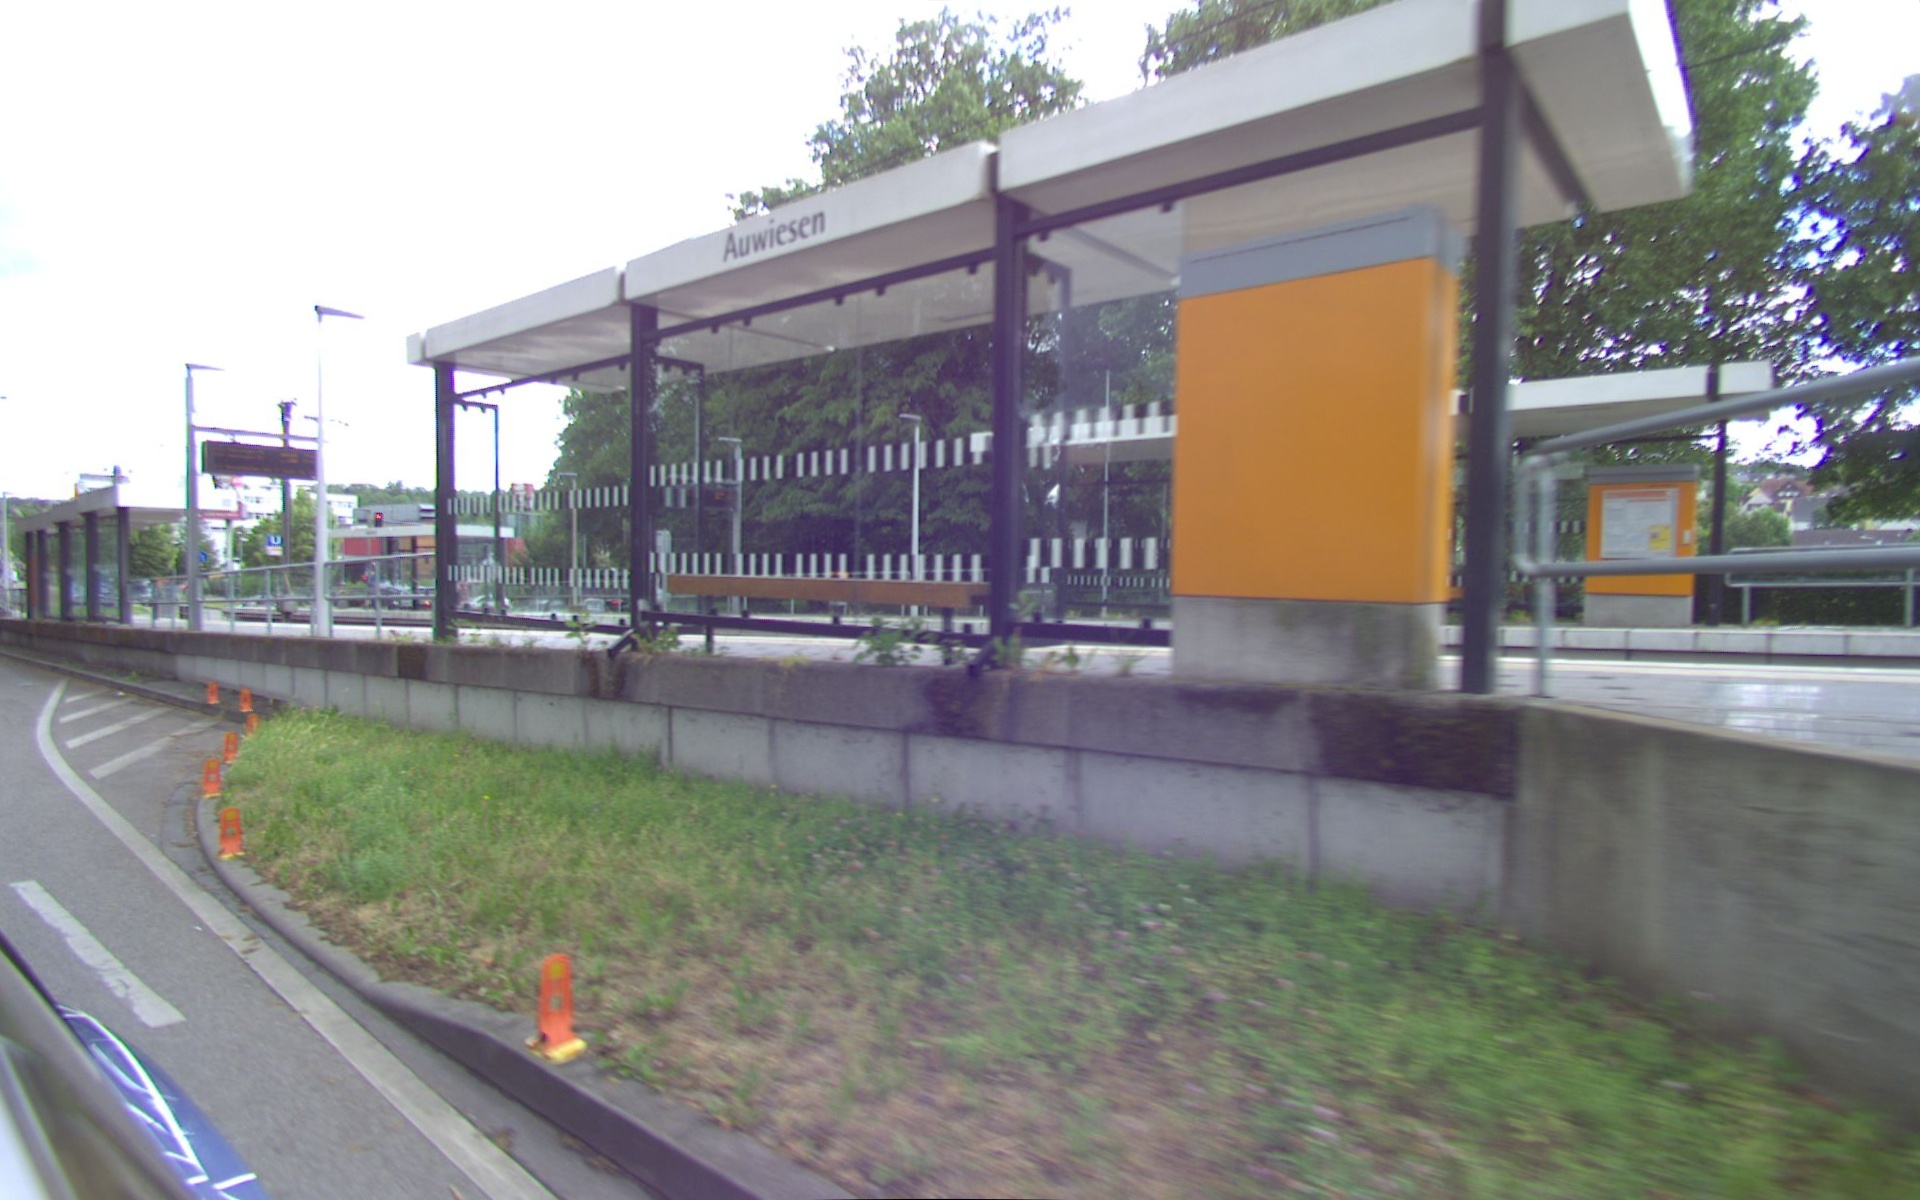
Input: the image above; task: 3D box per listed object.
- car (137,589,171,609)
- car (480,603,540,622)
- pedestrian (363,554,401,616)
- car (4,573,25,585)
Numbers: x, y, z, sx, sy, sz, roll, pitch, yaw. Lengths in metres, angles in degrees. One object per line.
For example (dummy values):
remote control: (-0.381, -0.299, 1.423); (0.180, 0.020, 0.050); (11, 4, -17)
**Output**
car: (-74.671, -0.076, 93.778); (4.398, 1.764, 1.692); (2, 1, 41)
car: (-34.418, 0.952, 77.397); (3.828, 1.418, 1.851); (0, 1, -38)
pedestrian: (-21.068, -0.558, 36.889); (0.976, 2.202, 0.959); (1, 1, 42)
car: (-164.430, -3.704, 175.912); (4.879, 2.029, 1.974); (1, 1, 38)
